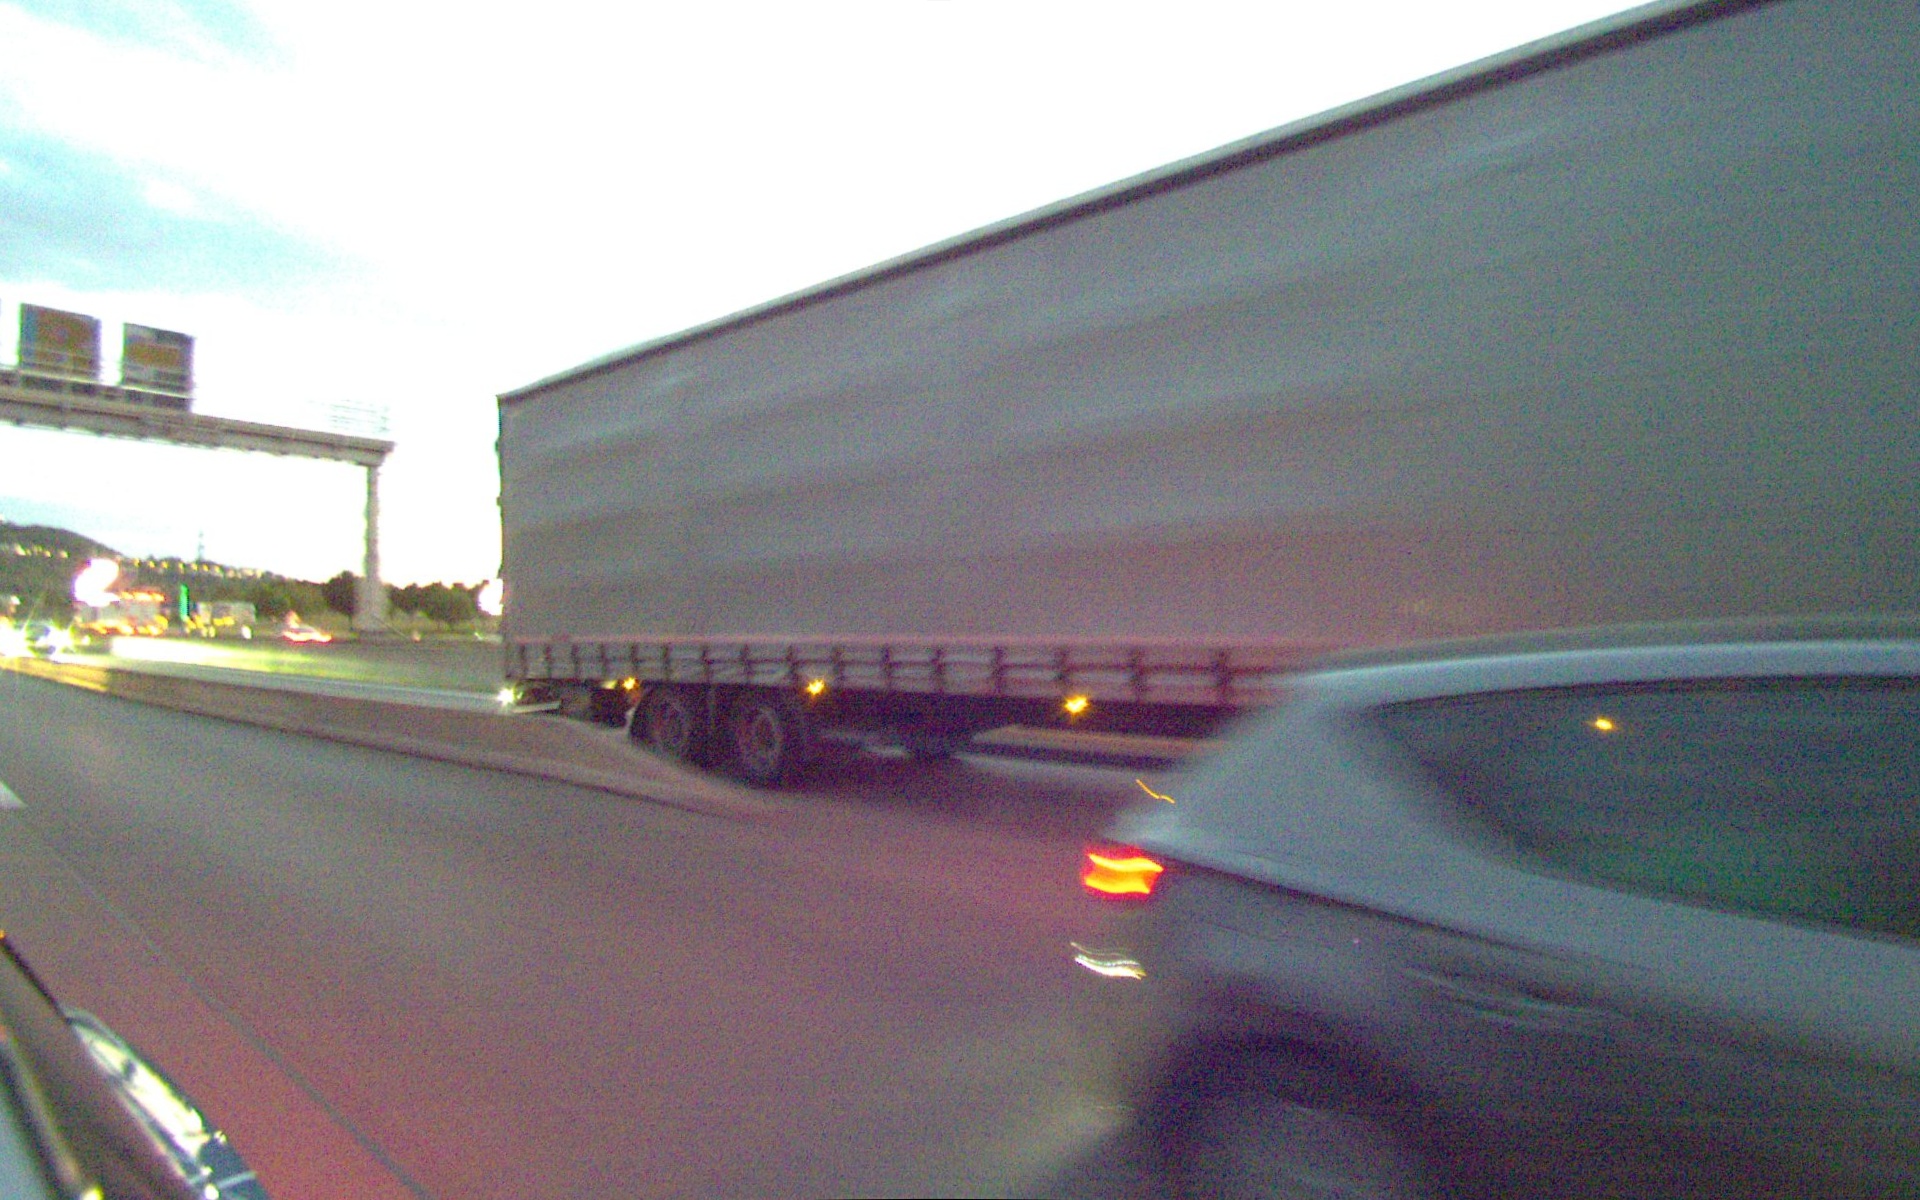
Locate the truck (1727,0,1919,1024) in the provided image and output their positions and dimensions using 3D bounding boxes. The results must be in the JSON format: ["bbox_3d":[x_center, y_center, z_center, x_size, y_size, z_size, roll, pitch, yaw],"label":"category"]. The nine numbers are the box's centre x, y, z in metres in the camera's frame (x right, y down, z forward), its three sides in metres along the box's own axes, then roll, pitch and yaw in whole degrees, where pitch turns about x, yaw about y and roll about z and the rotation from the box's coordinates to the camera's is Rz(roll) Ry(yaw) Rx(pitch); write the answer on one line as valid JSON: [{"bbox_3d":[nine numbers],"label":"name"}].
[{"bbox_3d":[6.168,-0.598,2.936,6.100,4.124,2.749,-1,-1,41],"label":"truck"}]

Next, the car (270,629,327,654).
[{"bbox_3d":[-37.633,2.315,57.583,3.998,1.298,1.714,-1,0,41],"label":"car"}]

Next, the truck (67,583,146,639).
[{"bbox_3d":[-93.775,1.203,111.146,9.639,5.834,5.264,-1,0,41],"label":"truck"}]

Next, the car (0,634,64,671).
[{"bbox_3d":[-41.151,2.276,44.573,5.391,1.448,1.796,-1,0,40],"label":"car"}]

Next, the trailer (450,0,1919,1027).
[{"bbox_3d":[0.491,-0.483,7.920,14.518,4.116,2.765,-1,-1,41],"label":"trailer"}]

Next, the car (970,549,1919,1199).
[{"bbox_3d":[2.353,0.658,1.398,4.724,1.482,1.704,-1,0,42],"label":"car"}]

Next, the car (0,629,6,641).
[{"bbox_3d":[-162.051,5.850,170.150,3.998,2.029,1.973,-1,0,41],"label":"car"}]

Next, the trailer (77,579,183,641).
[{"bbox_3d":[-85.341,1.042,103.760,19.203,5.829,5.249,-1,0,41],"label":"trailer"}]
